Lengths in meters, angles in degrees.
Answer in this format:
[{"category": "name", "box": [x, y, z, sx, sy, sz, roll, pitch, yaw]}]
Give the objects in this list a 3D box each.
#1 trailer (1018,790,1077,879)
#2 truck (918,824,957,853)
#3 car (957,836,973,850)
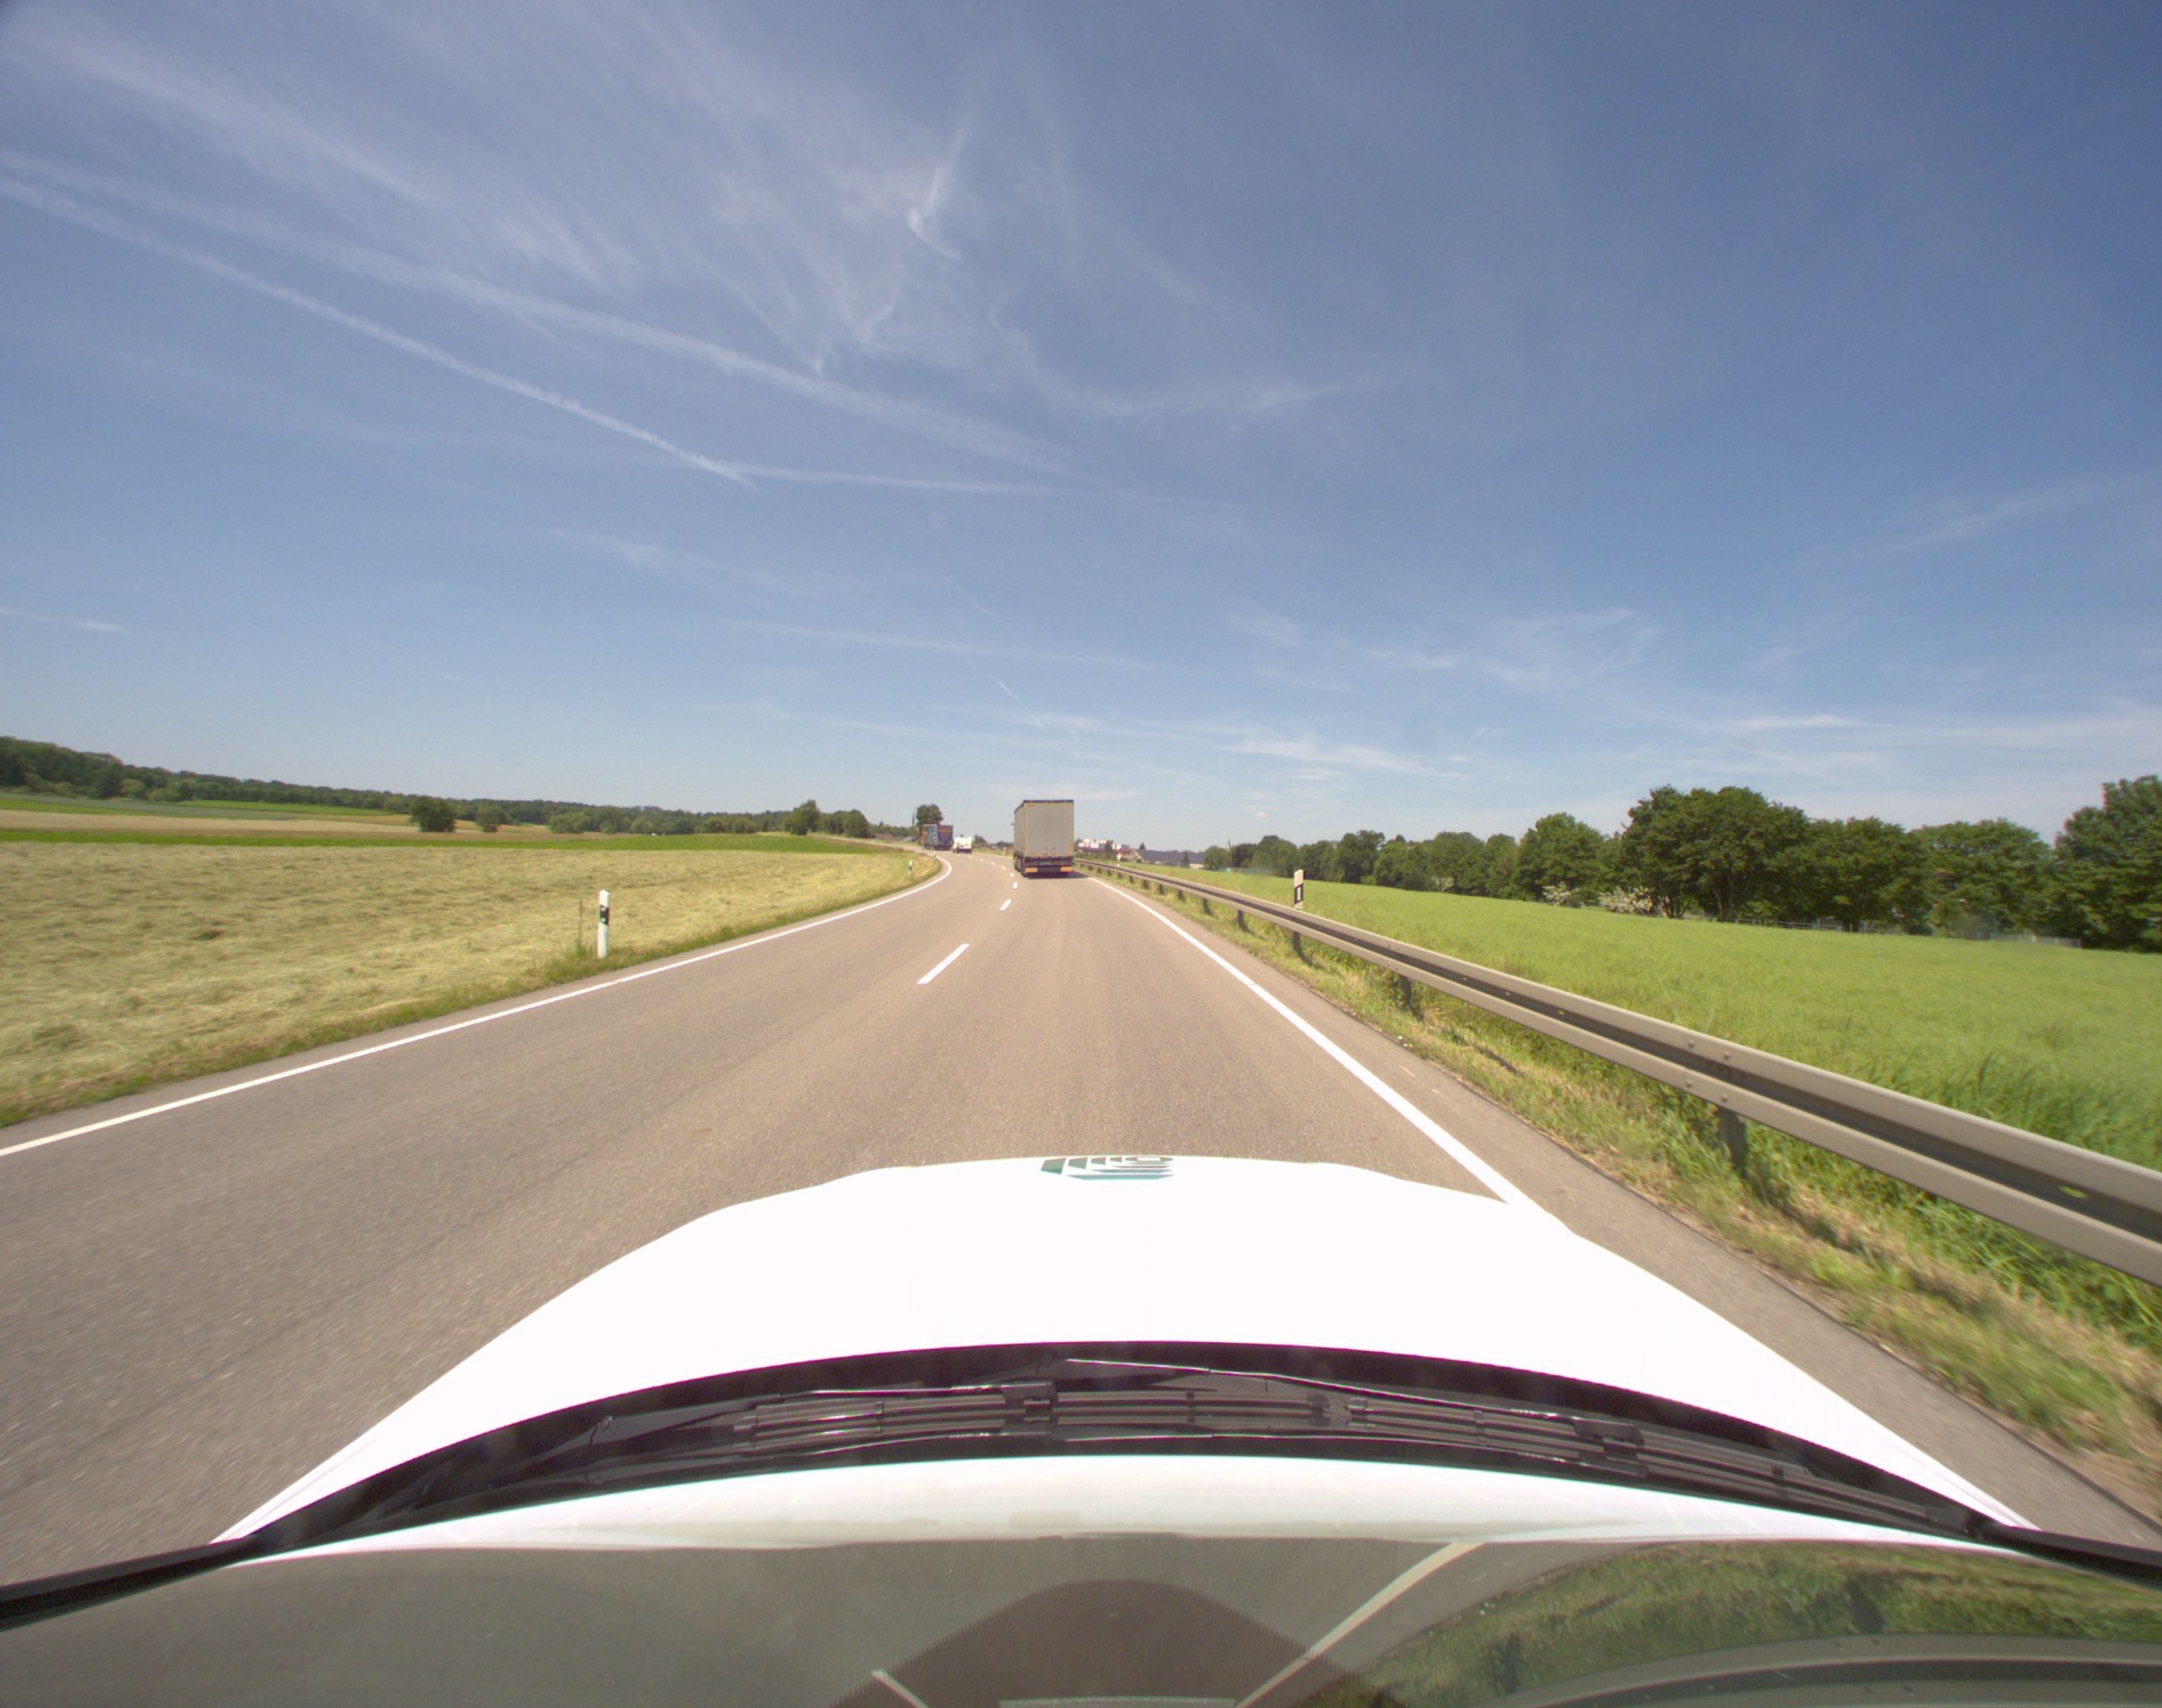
[{"category": "trailer", "box": [-2.080, -1.070, 47.275, 2.861, 4.400, 13.475, -1, 1, -4]}, {"category": "truck", "box": [-23.925, -2.459, 134.852, 3.559, 4.392, 18.008, 2, 0, -18]}, {"category": "car", "box": [-15.926, -1.484, 111.536, 1.728, 1.872, 3.979, 1, 1, -15]}]
